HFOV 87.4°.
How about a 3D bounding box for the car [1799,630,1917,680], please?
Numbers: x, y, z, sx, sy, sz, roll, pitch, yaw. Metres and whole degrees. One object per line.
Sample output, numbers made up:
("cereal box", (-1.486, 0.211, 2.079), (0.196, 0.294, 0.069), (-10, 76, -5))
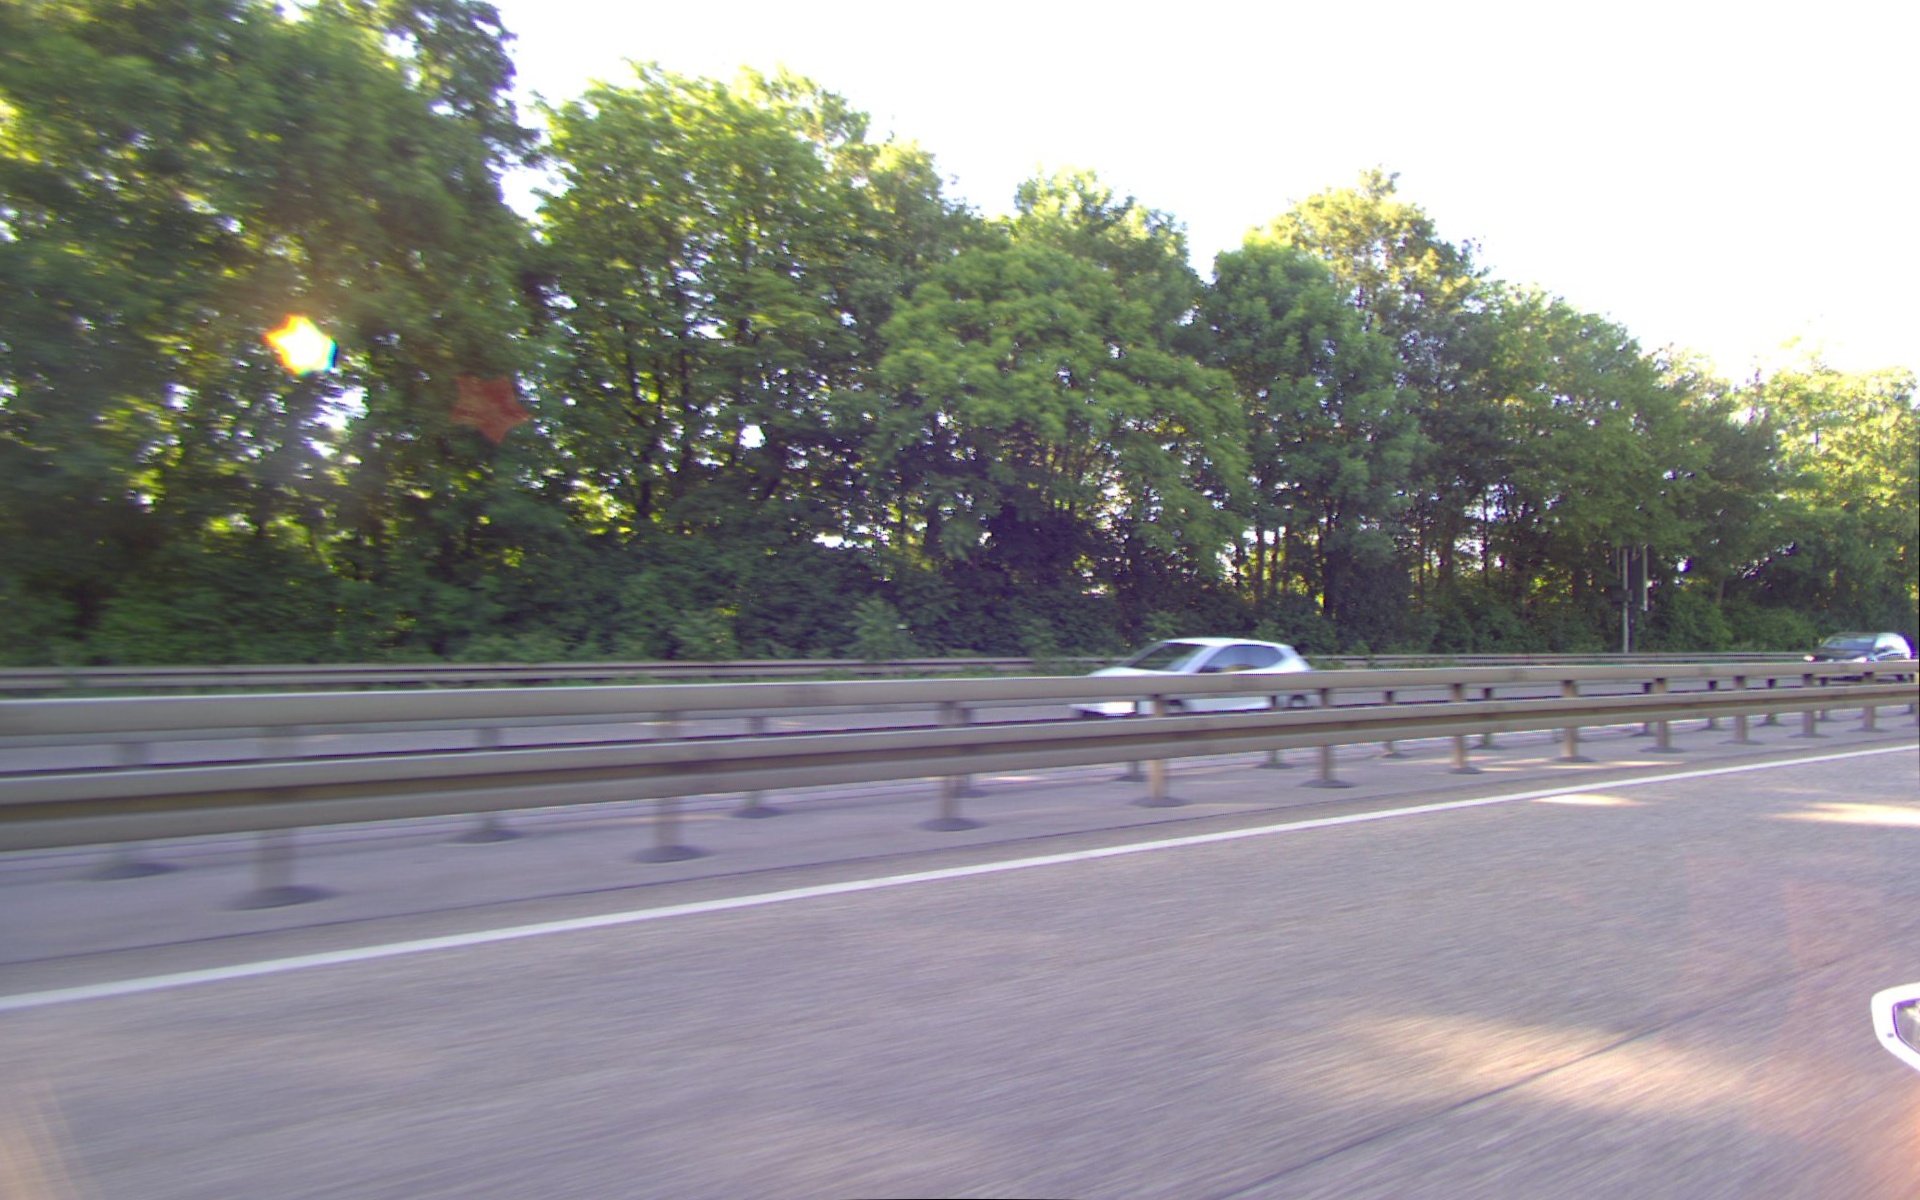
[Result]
("car", (31.517, 1.896, 35.224), (4.617, 1.660, 1.591), (1, -3, -28))

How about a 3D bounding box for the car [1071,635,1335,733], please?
("car", (3.749, 1.217, 15.392), (3.861, 1.331, 1.591), (1, -3, -28))
